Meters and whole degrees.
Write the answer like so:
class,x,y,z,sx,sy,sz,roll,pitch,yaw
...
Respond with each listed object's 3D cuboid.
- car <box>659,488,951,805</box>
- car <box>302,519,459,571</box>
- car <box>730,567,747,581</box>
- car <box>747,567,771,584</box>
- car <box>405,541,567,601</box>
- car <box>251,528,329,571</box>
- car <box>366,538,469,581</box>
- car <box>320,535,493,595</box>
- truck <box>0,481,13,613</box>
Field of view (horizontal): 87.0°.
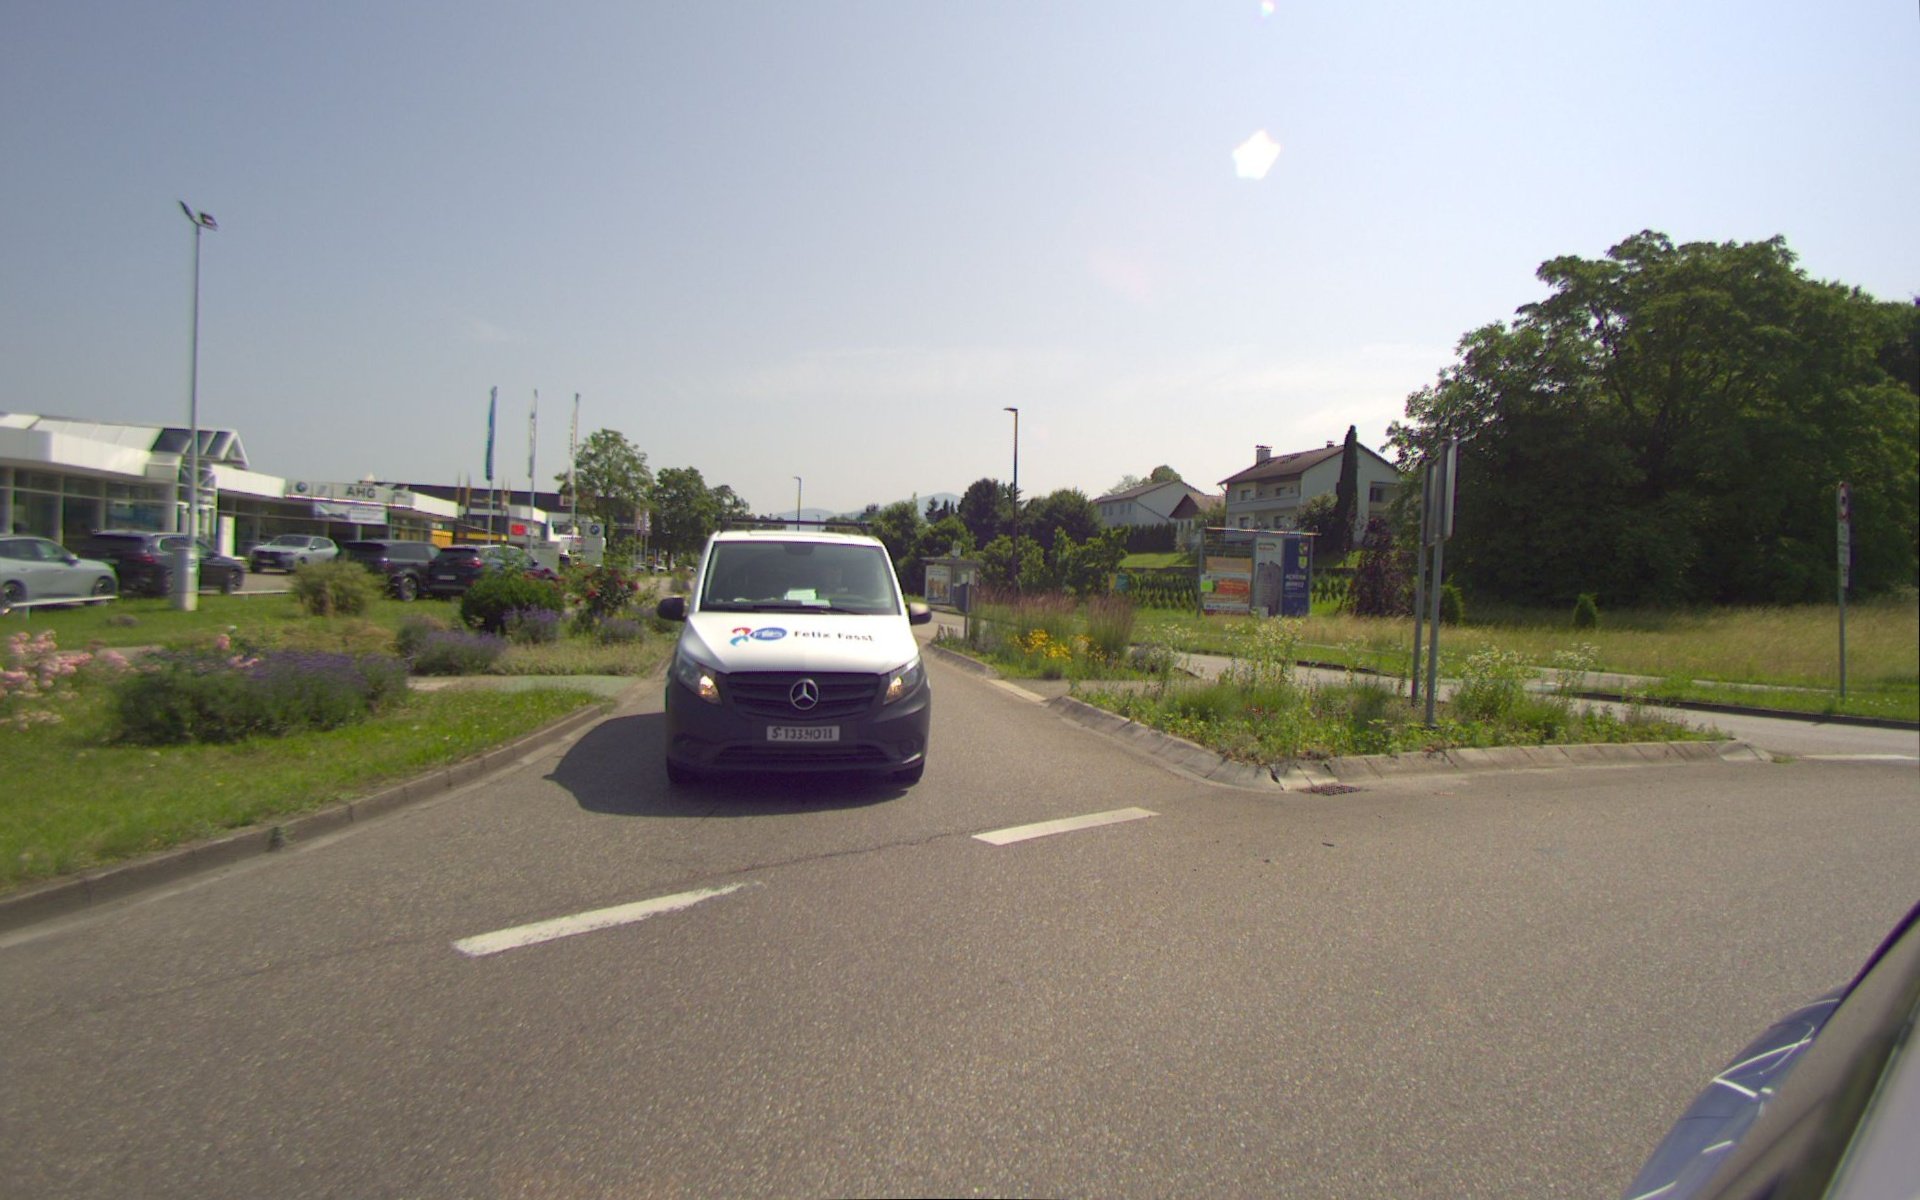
class,x,y,z,sx,sy,sz,roll,pitch,yaw
car,-1.465,0.241,9.002,1.822,1.962,5.240,0,1,-11
car,-18.640,-1.738,32.799,1.883,1.531,4.355,3,2,15
car,-25.941,-3.042,118.411,1.736,1.502,4.051,2,2,-15
car,-19.614,-2.385,98.764,1.736,1.502,4.051,2,2,-19
car,-13.551,-0.853,29.251,1.883,1.531,4.355,3,2,15
car,-28.047,-2.062,42.461,1.548,1.675,3.706,0,1,-14
car,-27.009,-2.002,50.543,4.172,2.039,2.004,0,1,-13
car,-15.788,-0.997,29.154,1.883,1.531,4.355,3,2,15
truck,-20.099,-0.992,18.105,1.909,2.697,5.640,2,2,-11
